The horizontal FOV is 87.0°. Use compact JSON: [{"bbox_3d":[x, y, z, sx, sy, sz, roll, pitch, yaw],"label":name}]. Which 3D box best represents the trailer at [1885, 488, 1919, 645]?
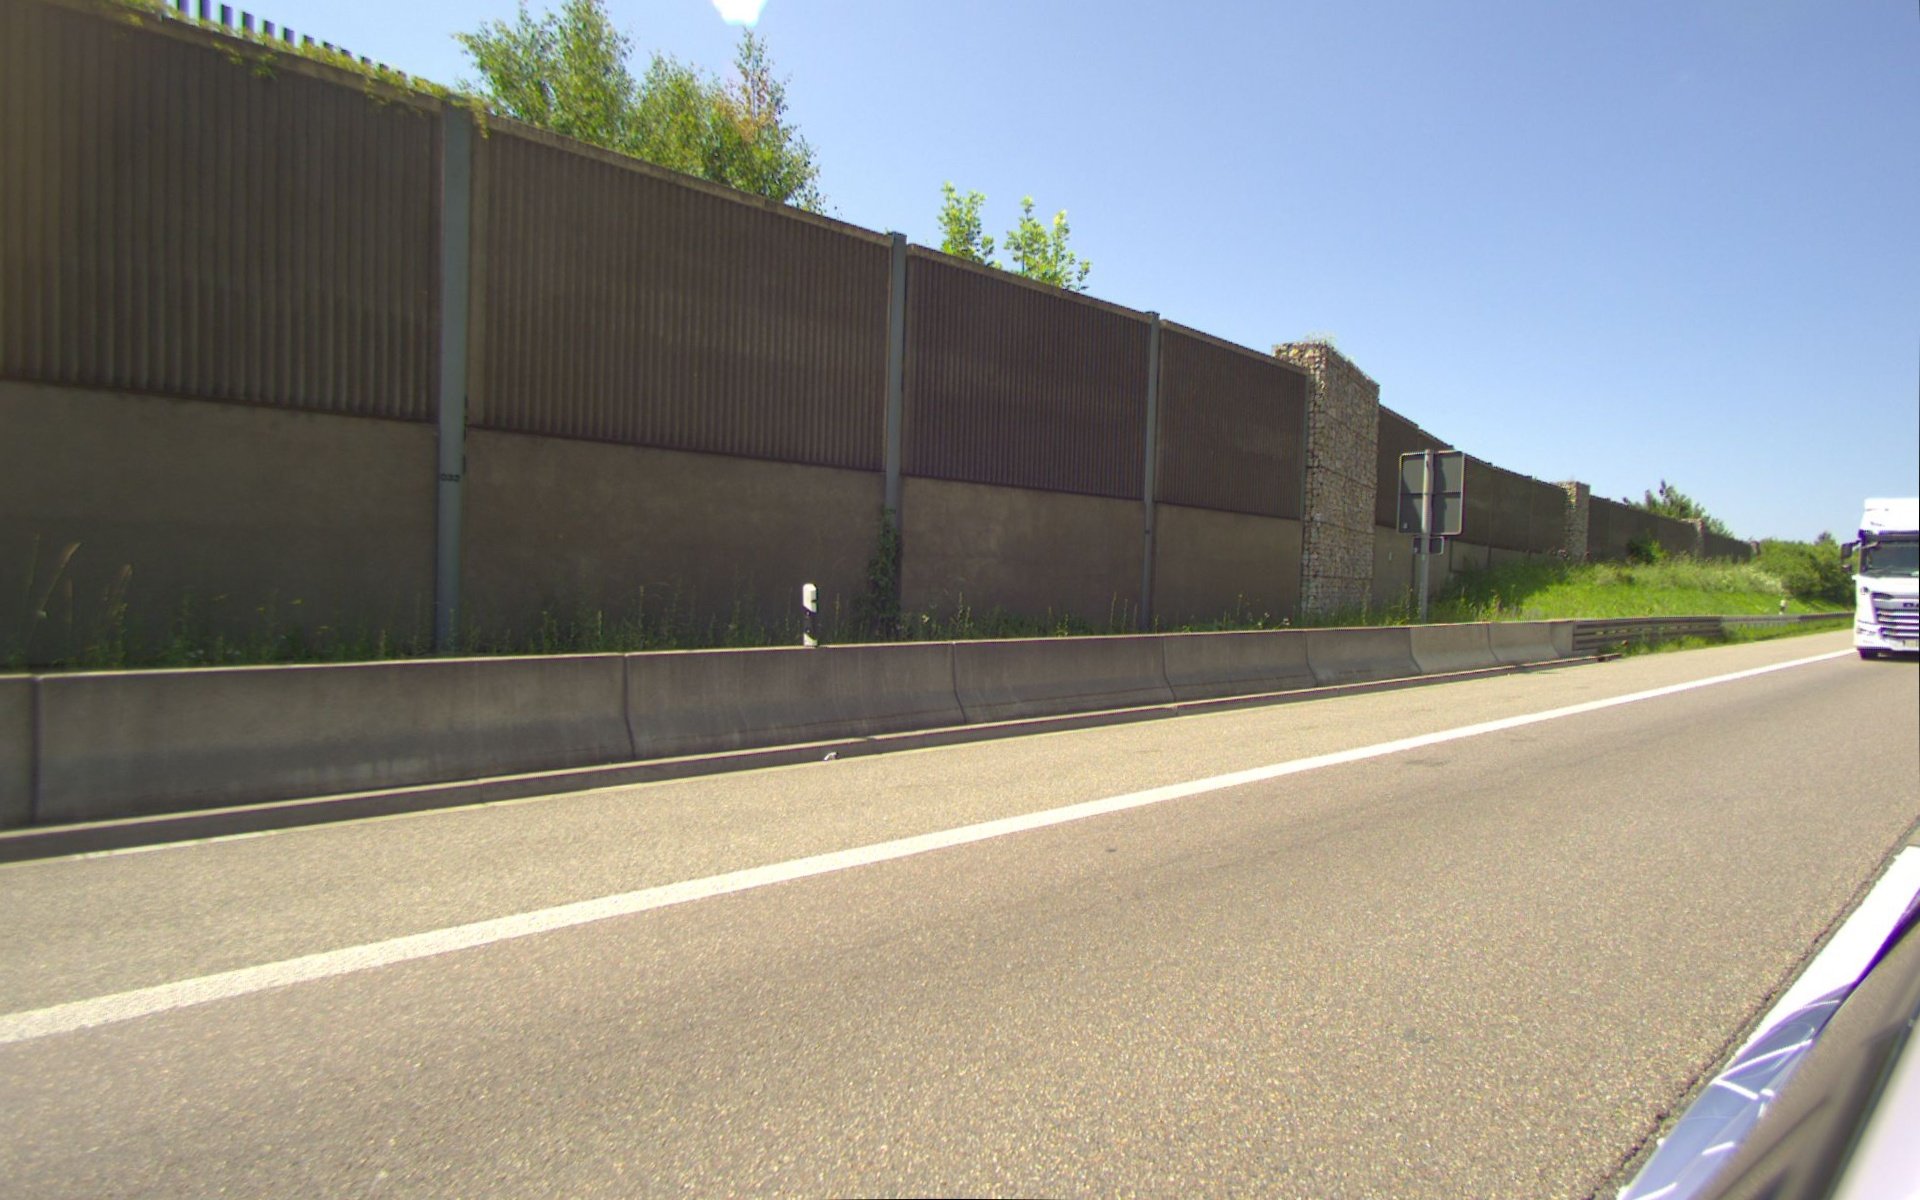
[{"bbox_3d":[30.144,-0.894,30.002,13.416,4.027,2.482,0,1,-41],"label":"trailer"}]

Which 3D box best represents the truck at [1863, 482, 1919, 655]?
[{"bbox_3d":[24.881,-0.757,25.413,6.269,4.027,2.482,0,1,-41],"label":"truck"}]
